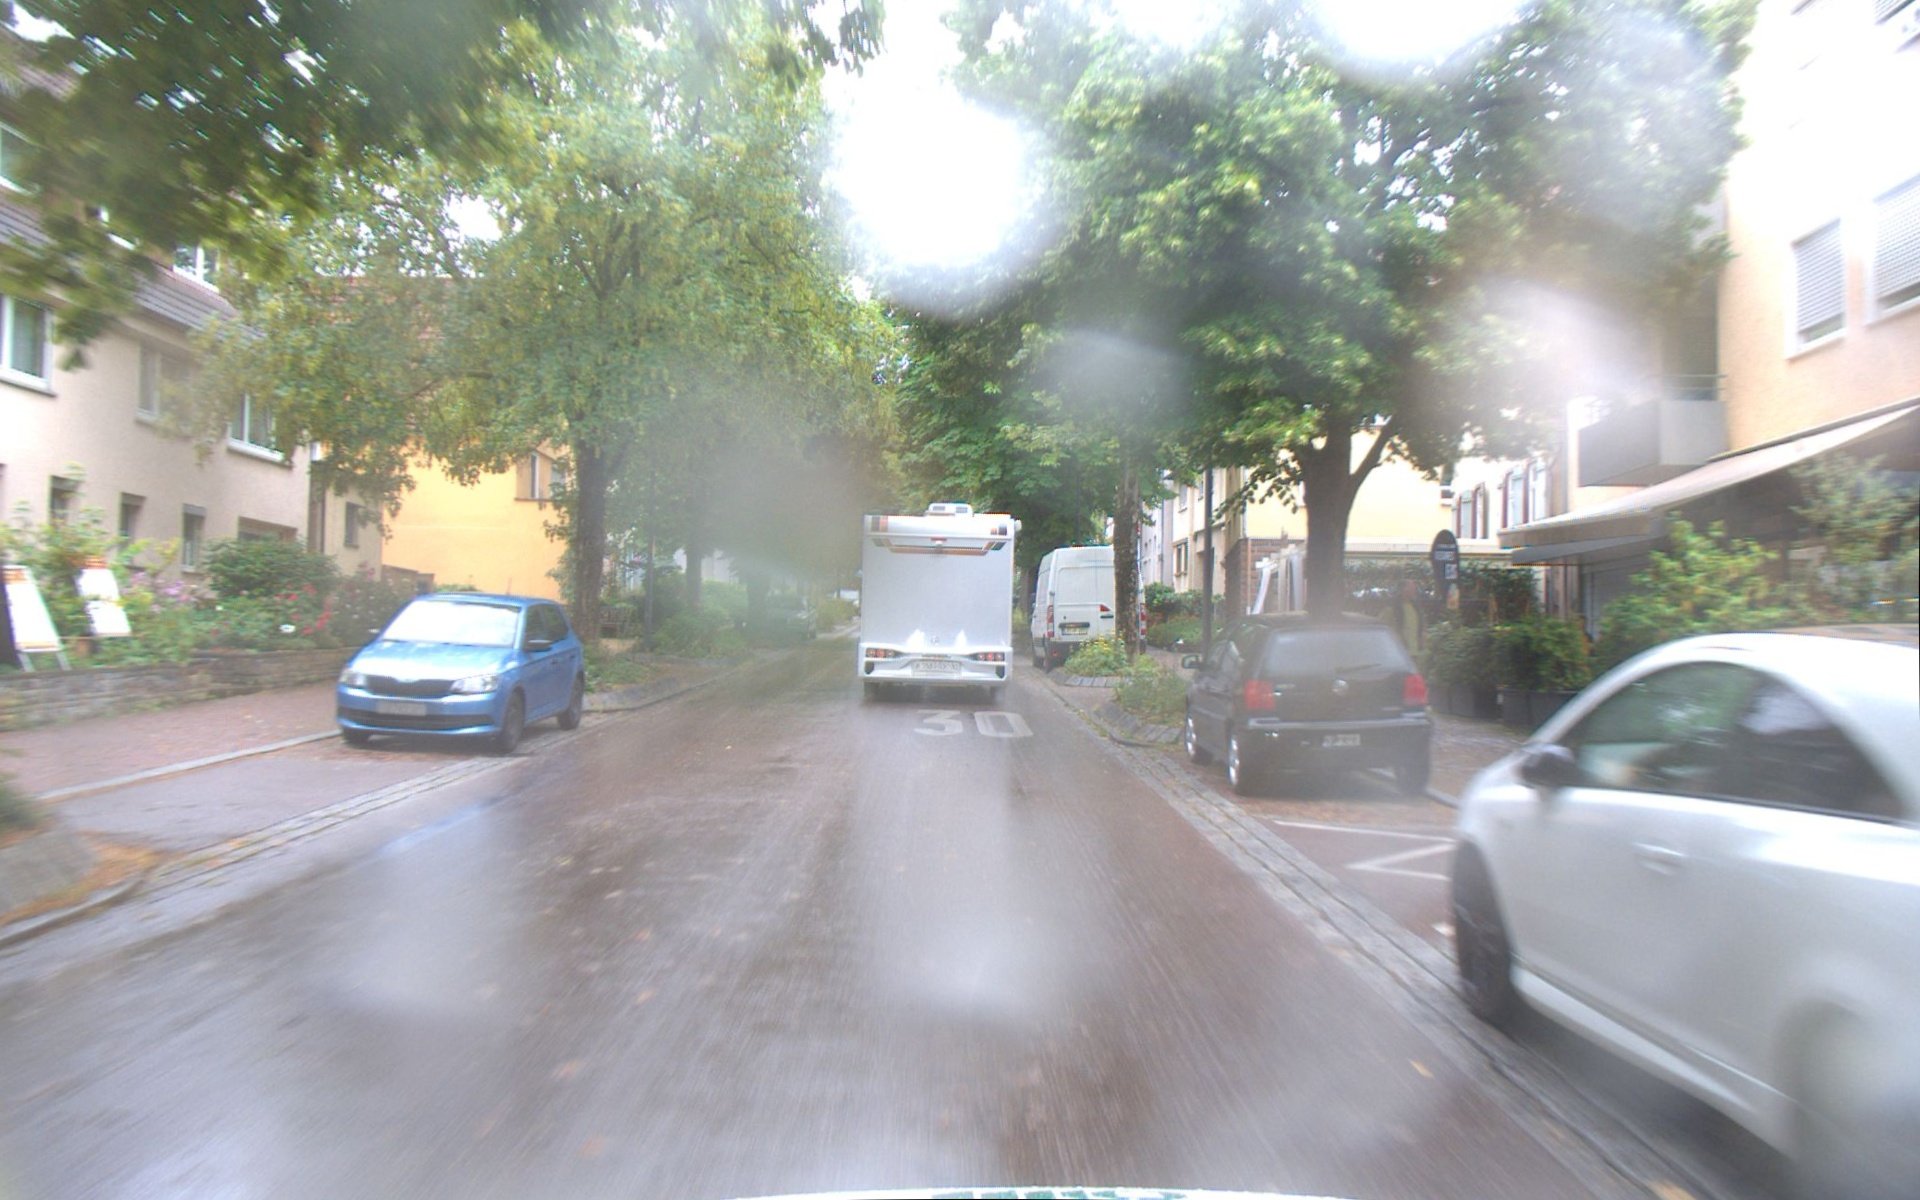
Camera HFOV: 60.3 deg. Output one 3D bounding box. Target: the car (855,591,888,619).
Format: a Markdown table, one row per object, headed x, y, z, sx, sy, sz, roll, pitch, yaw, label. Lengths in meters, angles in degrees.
| x | y | z | sx | sy | sz | roll | pitch | yaw | label |
| --- | --- | --- | --- | --- | --- | --- | --- | --- | --- |
| -5.369 | 0.305 | 100.659 | 1.735 | 1.580 | 4.000 | 3 | 1 | -1 | car |

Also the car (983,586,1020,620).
| x | y | z | sx | sy | sz | roll | pitch | yaw | label |
| --- | --- | --- | --- | --- | --- | --- | --- | --- | --- |
| 2.287 | 0.129 | 91.941 | 1.875 | 1.823 | 4.488 | 1 | 0 | -1 | car |

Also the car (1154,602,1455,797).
| x | y | z | sx | sy | sz | roll | pitch | yaw | label |
| --- | --- | --- | --- | --- | --- | --- | --- | --- | --- |
| 2.846 | 0.761 | 14.484 | 1.771 | 1.435 | 3.783 | 1 | 0 | -1 | car |

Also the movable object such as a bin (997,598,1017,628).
| x | y | z | sx | sy | sz | roll | pitch | yaw | label |
| --- | --- | --- | --- | --- | --- | --- | --- | --- | --- |
| 1.742 | 0.486 | 61.787 | 0.674 | 1.101 | 0.540 | 1 | 0 | -5 | movable object such as a bin |

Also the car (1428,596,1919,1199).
| x | y | z | sx | sy | sz | roll | pitch | yaw | label |
| --- | --- | --- | --- | --- | --- | --- | --- | --- | --- |
| 2.809 | 0.708 | 4.979 | 1.646 | 1.424 | 3.794 | 0 | 0 | -2 | car |

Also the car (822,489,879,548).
| x | y | z | sx | sy | sz | roll | pitch | yaw | label |
| --- | --- | --- | --- | --- | --- | --- | --- | --- | --- |
| -4.197 | -3.122 | 63.968 | 1.953 | 2.049 | 3.999 | 1 | 0 | 0 | car |

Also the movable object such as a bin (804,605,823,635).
| x | y | z | sx | sy | sz | roll | pitch | yaw | label |
| --- | --- | --- | --- | --- | --- | --- | --- | --- | --- |
| -5.448 | 0.748 | 61.418 | 0.582 | 1.081 | 0.545 | 3 | 0 | 3 | movable object such as a bin |

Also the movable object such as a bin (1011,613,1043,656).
| x | y | z | sx | sy | sz | roll | pitch | yaw | label |
| --- | --- | --- | --- | --- | --- | --- | --- | --- | --- |
| 1.751 | 0.897 | 43.399 | 0.781 | 1.094 | 0.878 | 1 | 0 | -1 | movable object such as a bin |

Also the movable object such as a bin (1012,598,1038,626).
| x | y | z | sx | sy | sz | roll | pitch | yaw | label |
| --- | --- | --- | --- | --- | --- | --- | --- | --- | --- |
| 3.081 | 0.572 | 78.317 | 1.199 | 1.338 | 1.134 | 0 | 0 | 2 | movable object such as a bin |

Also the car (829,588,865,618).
| x | y | z | sx | sy | sz | roll | pitch | yaw | label |
| --- | --- | --- | --- | --- | --- | --- | --- | --- | --- |
| -6.255 | 0.155 | 92.063 | 1.613 | 1.560 | 3.866 | 2 | 0 | 1 | car |

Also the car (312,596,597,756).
| x | y | z | sx | sy | sz | roll | pitch | yaw | label |
| --- | --- | --- | --- | --- | --- | --- | --- | --- | --- |
| -5.006 | 0.692 | 16.908 | 1.713 | 1.420 | 3.795 | 1 | 0 | 0 | car |

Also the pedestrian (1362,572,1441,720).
| x | y | z | sx | sy | sz | roll | pitch | yaw | label |
| --- | --- | --- | --- | --- | --- | --- | --- | --- | --- |
| 5.310 | 0.548 | 19.906 | 0.753 | 1.762 | 0.491 | 1 | 0 | -13 | pedestrian |

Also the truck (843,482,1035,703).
| x | y | z | sx | sy | sz | roll | pitch | yaw | label |
| --- | --- | --- | --- | --- | --- | --- | --- | --- | --- |
| -0.319 | -0.101 | 26.365 | 2.639 | 3.038 | 6.235 | 1 | 0 | -1 | truck |

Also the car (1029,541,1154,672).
| x | y | z | sx | sy | sz | roll | pitch | yaw | label |
| --- | --- | --- | --- | --- | --- | --- | --- | --- | --- |
| 2.681 | 0.137 | 34.919 | 2.097 | 2.503 | 5.434 | 1 | 0 | -1 | car |

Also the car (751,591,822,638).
| x | y | z | sx | sy | sz | roll | pitch | yaw | label |
| --- | --- | --- | --- | --- | --- | --- | --- | --- | --- |
| -5.606 | 0.445 | 53.872 | 1.736 | 1.413 | 4.546 | 3 | 0 | 1 | car |
